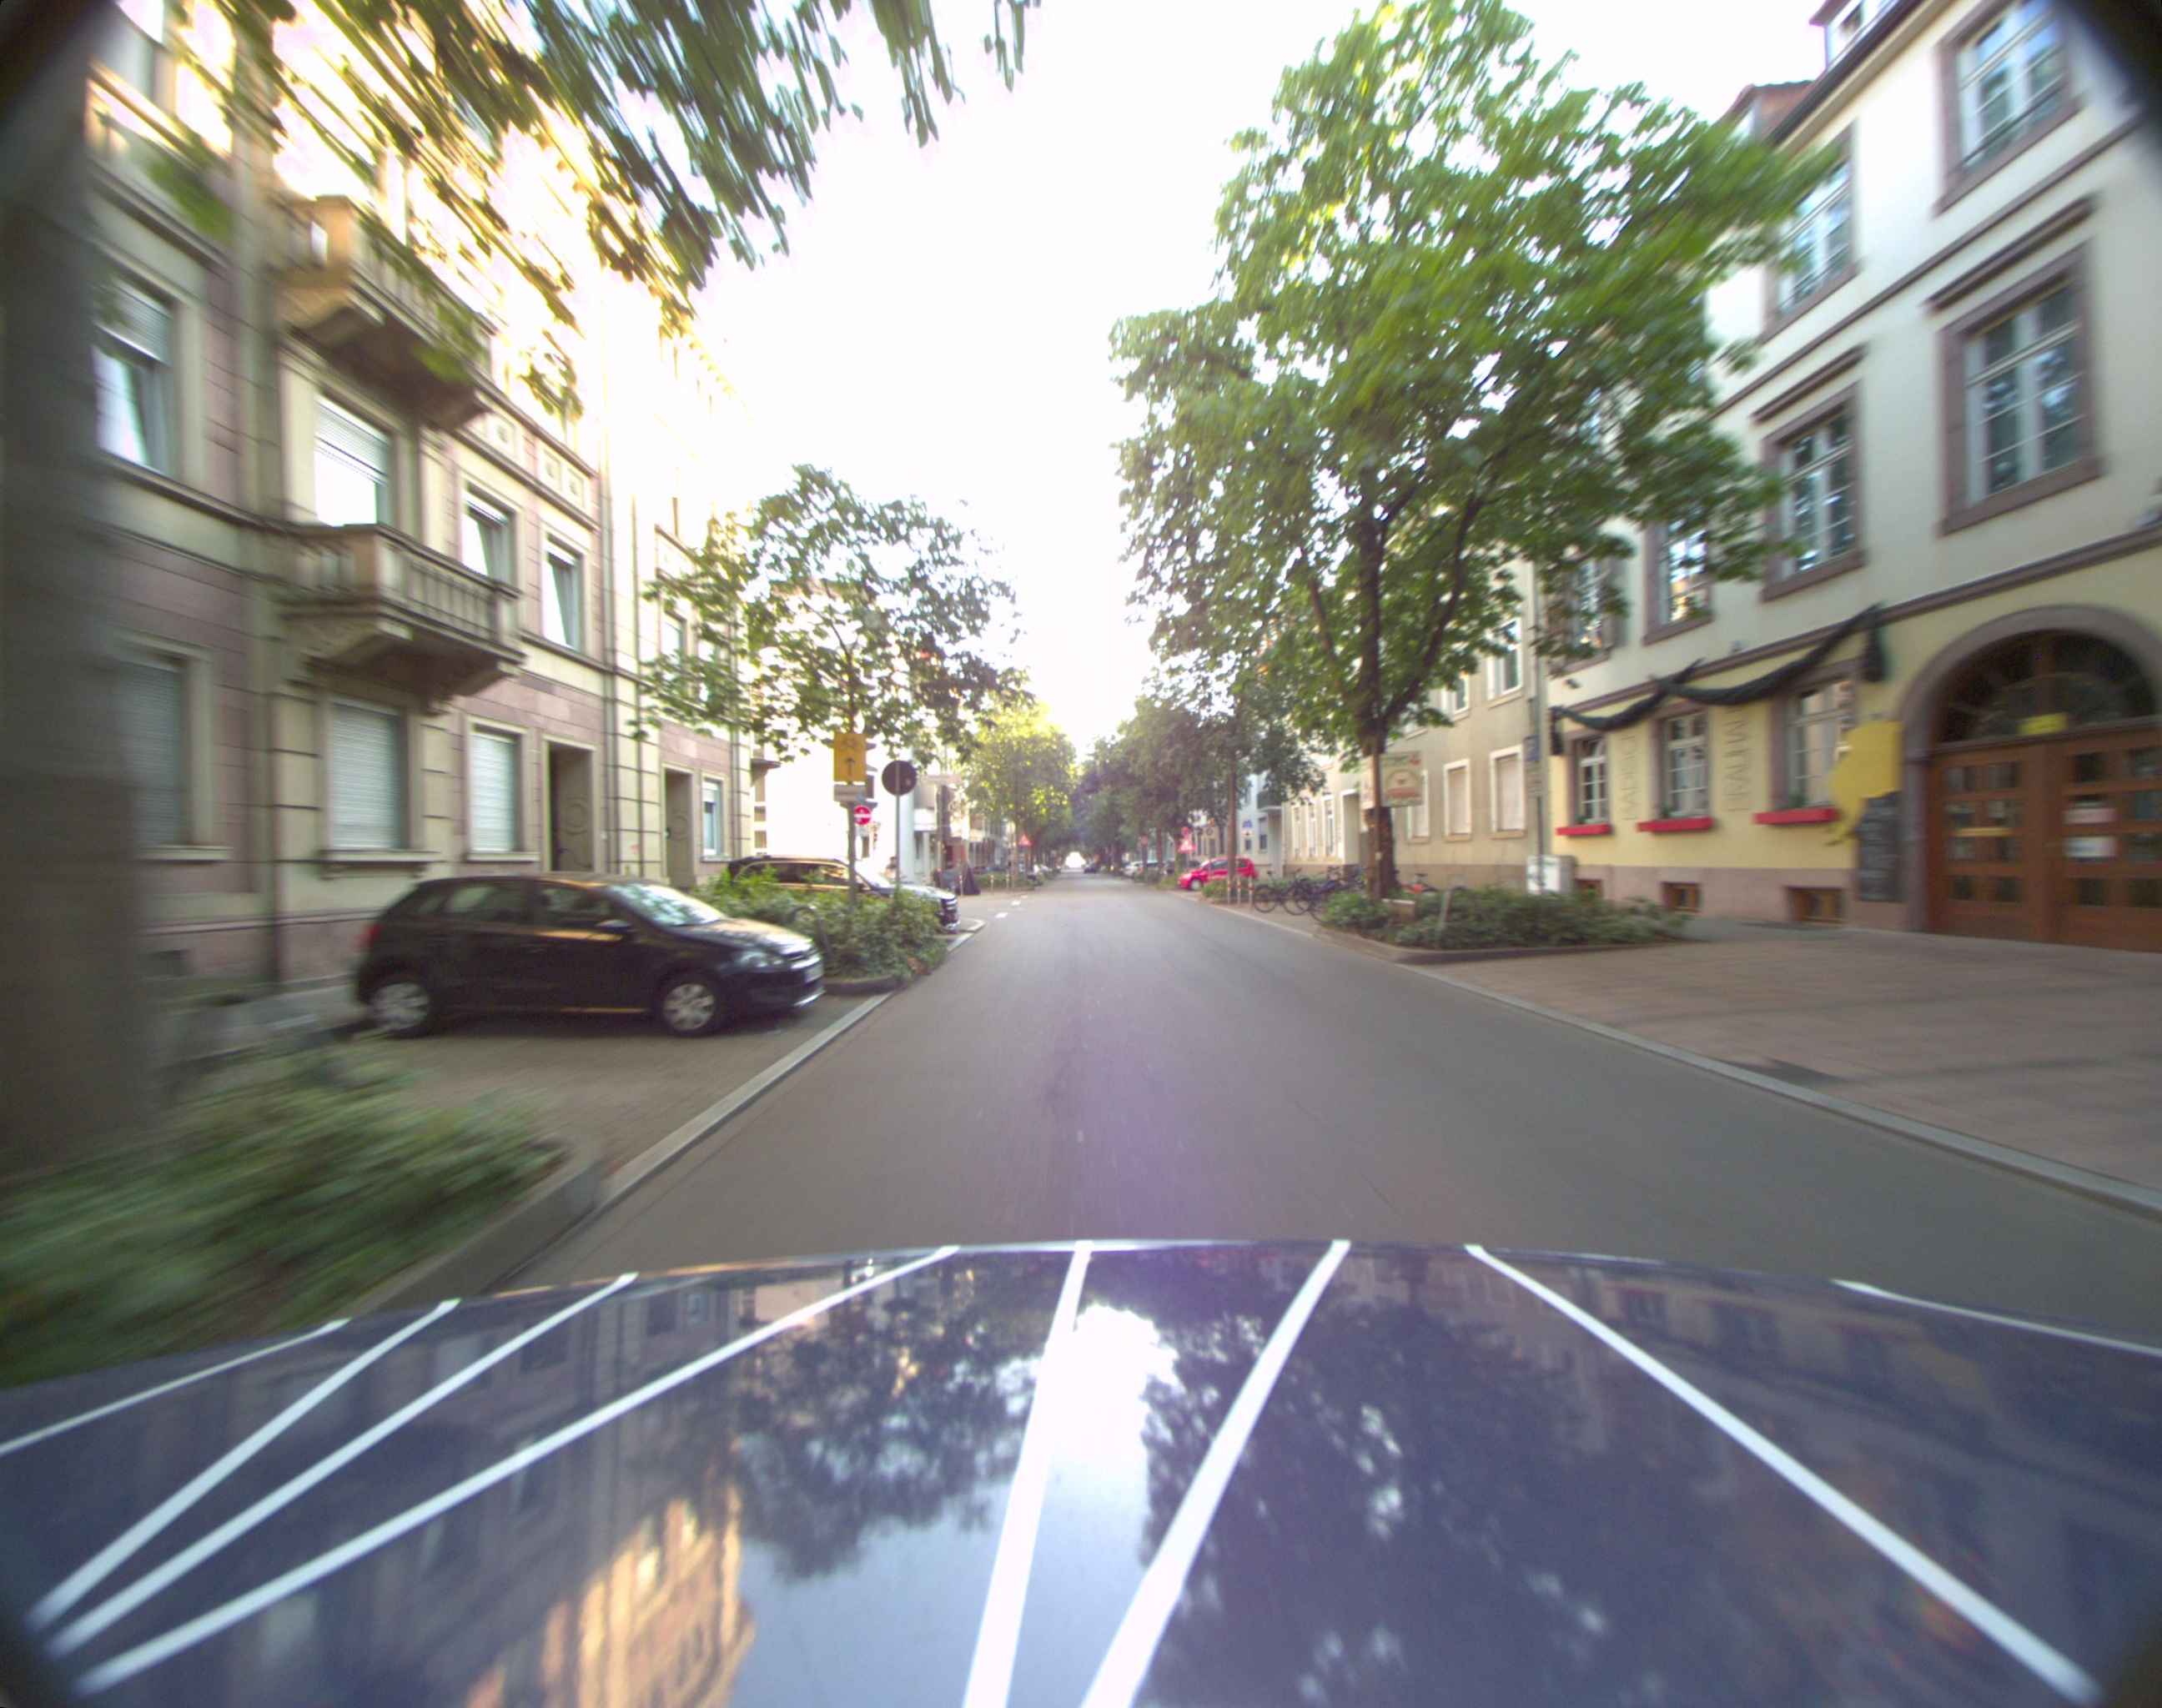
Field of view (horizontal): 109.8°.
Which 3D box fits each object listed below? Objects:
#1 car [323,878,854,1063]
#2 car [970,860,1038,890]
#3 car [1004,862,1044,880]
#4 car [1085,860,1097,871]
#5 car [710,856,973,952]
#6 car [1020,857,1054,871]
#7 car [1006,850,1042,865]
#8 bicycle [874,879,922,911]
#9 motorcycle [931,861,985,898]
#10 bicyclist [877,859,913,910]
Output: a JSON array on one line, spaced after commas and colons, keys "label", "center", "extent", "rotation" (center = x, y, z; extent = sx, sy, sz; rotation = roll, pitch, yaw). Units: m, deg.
[{"label": "car", "center": [-4.410, 1.021, 7.319], "extent": [3.876, 1.419, 1.781], "rotation": [2, -1, -2]}, {"label": "car", "center": [-4.968, 1.348, 49.503], "extent": [4.166, 1.665, 1.590], "rotation": [-4, 0, -1]}, {"label": "car", "center": [-5.280, 1.592, 70.481], "extent": [3.552, 1.411, 1.590], "rotation": [-4, 0, 0]}, {"label": "car", "center": [1.380, 1.631, 105.933], "extent": [1.673, 1.411, 3.555], "rotation": [-4, 0, 0]}, {"label": "car", "center": [-4.510, 0.904, 14.684], "extent": [4.421, 1.552, 1.867], "rotation": [2, -1, 6]}, {"label": "car", "center": [-5.210, 1.176, 90.272], "extent": [3.998, 1.565, 1.928], "rotation": [-1, 0, -2]}, {"label": "car", "center": [-5.919, 0.367, 78.726], "extent": [3.552, 1.411, 1.590], "rotation": [-4, 0, 0]}, {"label": "bicycle", "center": [-6.007, 1.332, 24.923], "extent": [0.780, 0.967, 2.019], "rotation": [-2, 0, -37]}, {"label": "motorcycle", "center": [-5.482, 1.123, 33.819], "extent": [2.248, 1.537, 0.772], "rotation": [-3, 1, -16]}, {"label": "bicyclist", "center": [-6.146, 0.985, 25.084], "extent": [0.755, 1.612, 1.144], "rotation": [-2, 0, -36]}]
